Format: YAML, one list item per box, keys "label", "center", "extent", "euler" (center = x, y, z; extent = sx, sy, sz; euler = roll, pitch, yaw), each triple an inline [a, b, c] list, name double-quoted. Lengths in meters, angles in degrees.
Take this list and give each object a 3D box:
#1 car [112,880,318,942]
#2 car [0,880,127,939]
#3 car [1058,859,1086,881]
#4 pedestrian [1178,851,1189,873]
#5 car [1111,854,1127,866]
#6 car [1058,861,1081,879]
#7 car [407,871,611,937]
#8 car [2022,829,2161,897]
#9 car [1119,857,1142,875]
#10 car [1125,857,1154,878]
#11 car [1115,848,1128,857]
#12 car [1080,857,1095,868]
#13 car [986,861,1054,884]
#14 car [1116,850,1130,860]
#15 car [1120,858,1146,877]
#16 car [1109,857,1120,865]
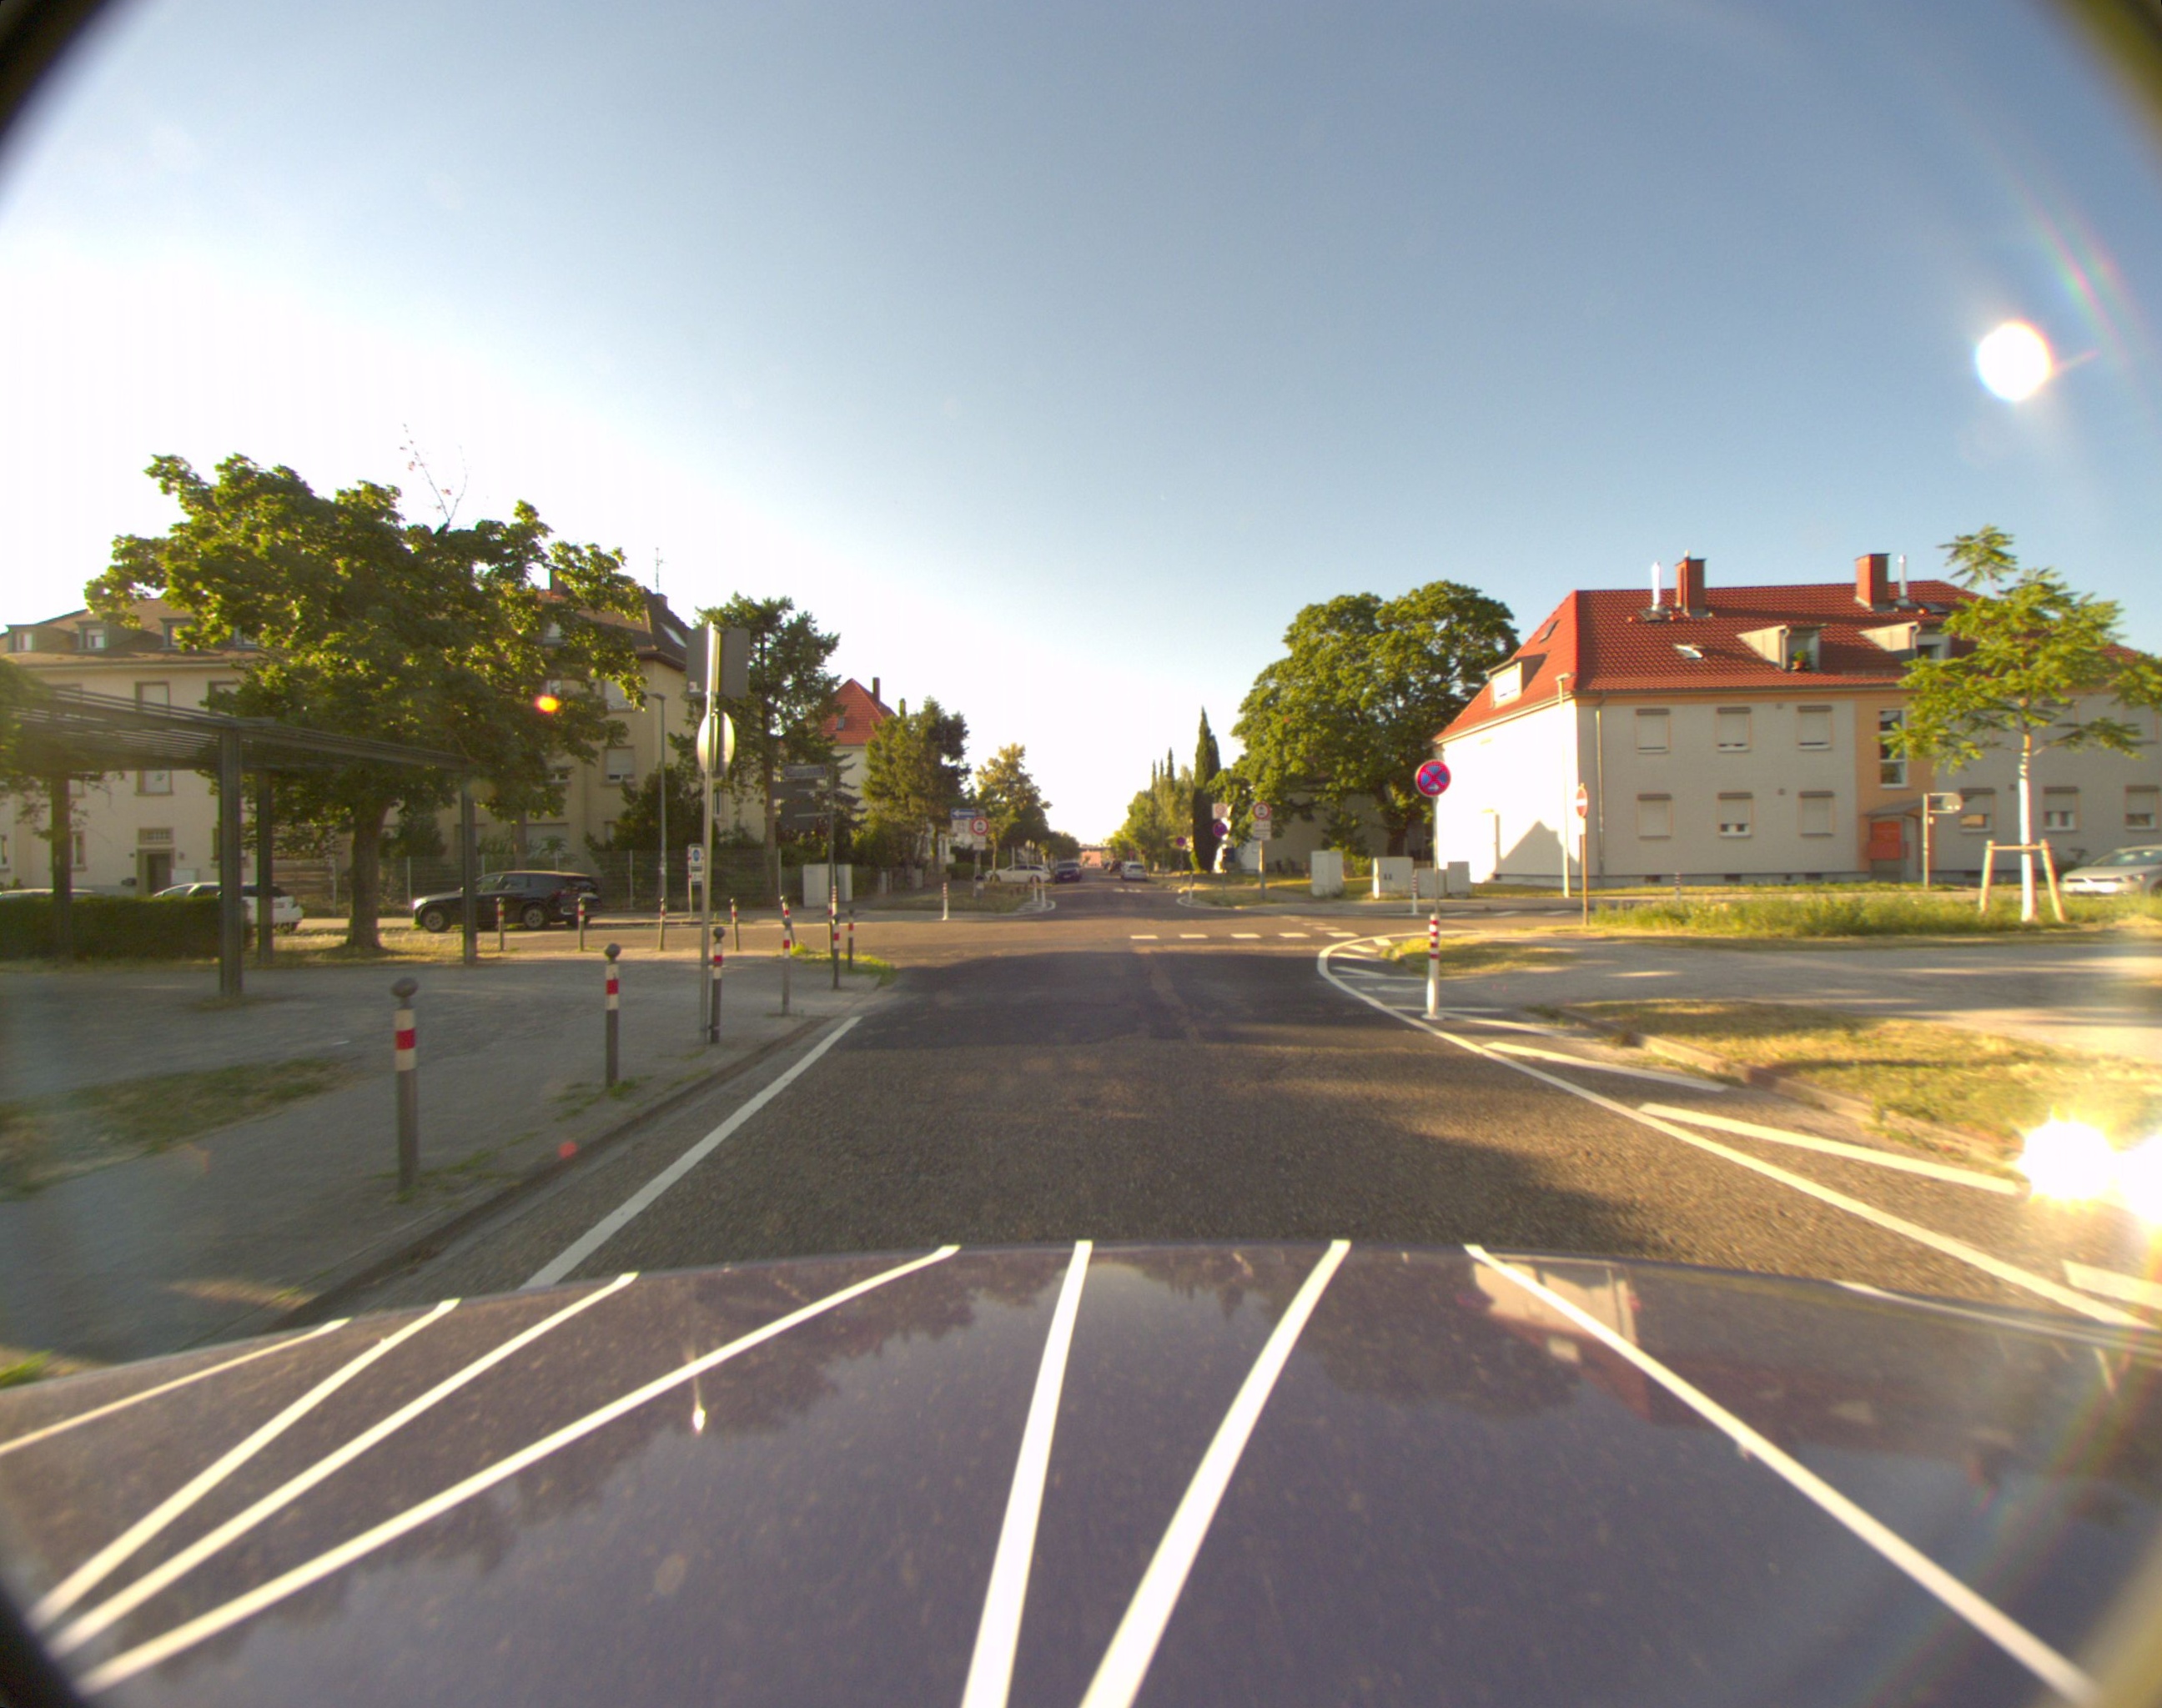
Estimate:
- label: "car"
  center: [-24.342, 1.584, 21.460]
  extent: [3.770, 1.517, 1.771]
  euler: [-1, 1, 1]
- label: "car"
  center: [-29.771, 1.562, 21.399]
  extent: [3.756, 1.509, 1.736]
  euler: [-1, 0, 3]
- label: "car"
  center: [-0.736, 1.242, 59.539]
  extent: [1.971, 1.604, 4.246]
  euler: [-1, 0, -3]
- label: "pedestrian"
  center: [9.491, 0.745, 70.481]
  extent: [0.898, 2.002, 0.693]
  euler: [-1, 0, 1]
- label: "car"
  center: [5.291, 0.793, 106.005]
  extent: [1.970, 1.604, 4.247]
  euler: [-1, 0, 0]
- label: "car"
  center: [-1.097, 1.456, 71.854]
  extent: [1.971, 1.604, 4.246]
  euler: [-1, 0, -3]
- label: "car"
  center: [-15.592, 1.349, 20.873]
  extent: [4.213, 1.631, 1.824]
  euler: [-1, -3, 1]
- label: "car"
  center: [28.087, 0.223, 20.121]
  extent: [3.997, 1.685, 1.851]
  euler: [-1, -2, -1]
- label: "car"
  center: [4.687, 1.142, 72.312]
  extent: [1.970, 1.604, 4.247]
  euler: [-1, 0, 0]
- label: "car"
  center: [4.663, 1.071, 60.803]
  extent: [1.970, 1.604, 4.247]
  euler: [-1, 0, 0]
- label: "car"
  center: [7.302, -0.256, 137.223]
  extent: [1.970, 1.604, 4.247]
  euler: [-1, 0, 0]
- label: "car"
  center: [1.000, 1.345, 117.958]
  extent: [1.971, 1.604, 4.246]
  euler: [-1, 0, -3]
- label: "car"
  center: [-4.436, 1.338, 55.578]
  extent: [4.835, 1.604, 1.971]
  euler: [-1, 0, -1]
- label: "car"
  center: [6.639, 0.193, 120.952]
  extent: [1.970, 1.604, 4.247]
  euler: [-1, 0, 0]
- label: "car"
  center: [4.590, 1.144, 67.319]
  extent: [1.970, 1.604, 4.247]
  euler: [-1, 0, 0]
- label: "car"
  center: [6.608, 1.374, 149.101]
  extent: [1.970, 1.604, 4.247]
  euler: [-1, 0, 0]
